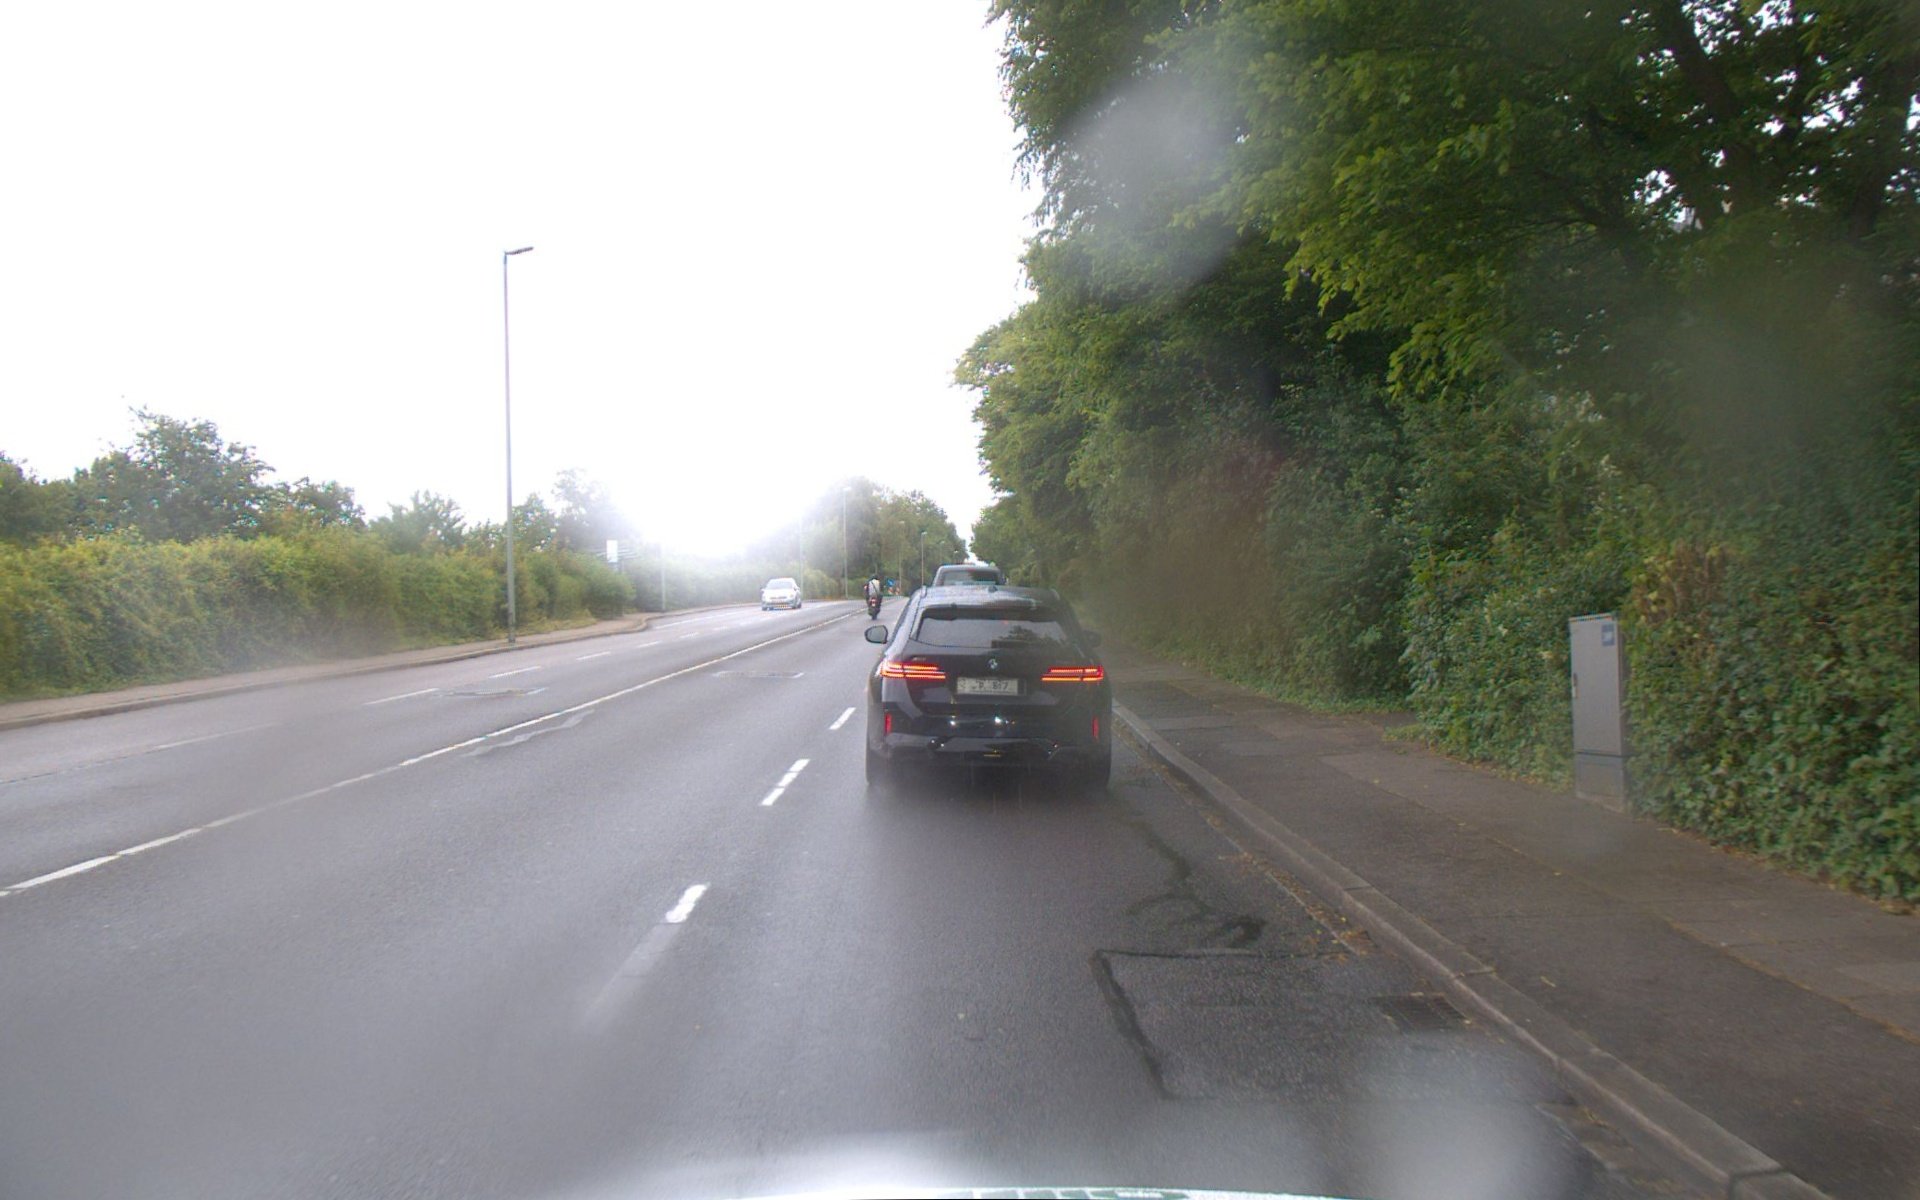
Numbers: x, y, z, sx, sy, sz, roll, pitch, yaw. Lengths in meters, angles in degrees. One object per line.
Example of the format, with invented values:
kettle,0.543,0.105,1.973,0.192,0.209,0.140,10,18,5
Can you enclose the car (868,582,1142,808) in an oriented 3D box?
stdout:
car,0.354,0.653,13.393,1.858,1.515,4.001,1,0,1

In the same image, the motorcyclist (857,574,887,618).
motorcyclist,-3.215,-0.154,60.803,1.018,1.595,0.855,1,-1,0

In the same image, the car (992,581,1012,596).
car,4.188,-1.129,166.054,1.895,1.467,4.409,-1,0,3

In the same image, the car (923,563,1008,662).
car,0.120,0.229,33.942,1.596,1.865,4.000,-1,0,0

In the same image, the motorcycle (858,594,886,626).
motorcycle,-3.216,0.366,60.751,0.858,1.144,2.741,1,0,0

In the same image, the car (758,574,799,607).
car,-9.375,-0.504,85.763,1.721,1.595,3.999,-2,0,-1
